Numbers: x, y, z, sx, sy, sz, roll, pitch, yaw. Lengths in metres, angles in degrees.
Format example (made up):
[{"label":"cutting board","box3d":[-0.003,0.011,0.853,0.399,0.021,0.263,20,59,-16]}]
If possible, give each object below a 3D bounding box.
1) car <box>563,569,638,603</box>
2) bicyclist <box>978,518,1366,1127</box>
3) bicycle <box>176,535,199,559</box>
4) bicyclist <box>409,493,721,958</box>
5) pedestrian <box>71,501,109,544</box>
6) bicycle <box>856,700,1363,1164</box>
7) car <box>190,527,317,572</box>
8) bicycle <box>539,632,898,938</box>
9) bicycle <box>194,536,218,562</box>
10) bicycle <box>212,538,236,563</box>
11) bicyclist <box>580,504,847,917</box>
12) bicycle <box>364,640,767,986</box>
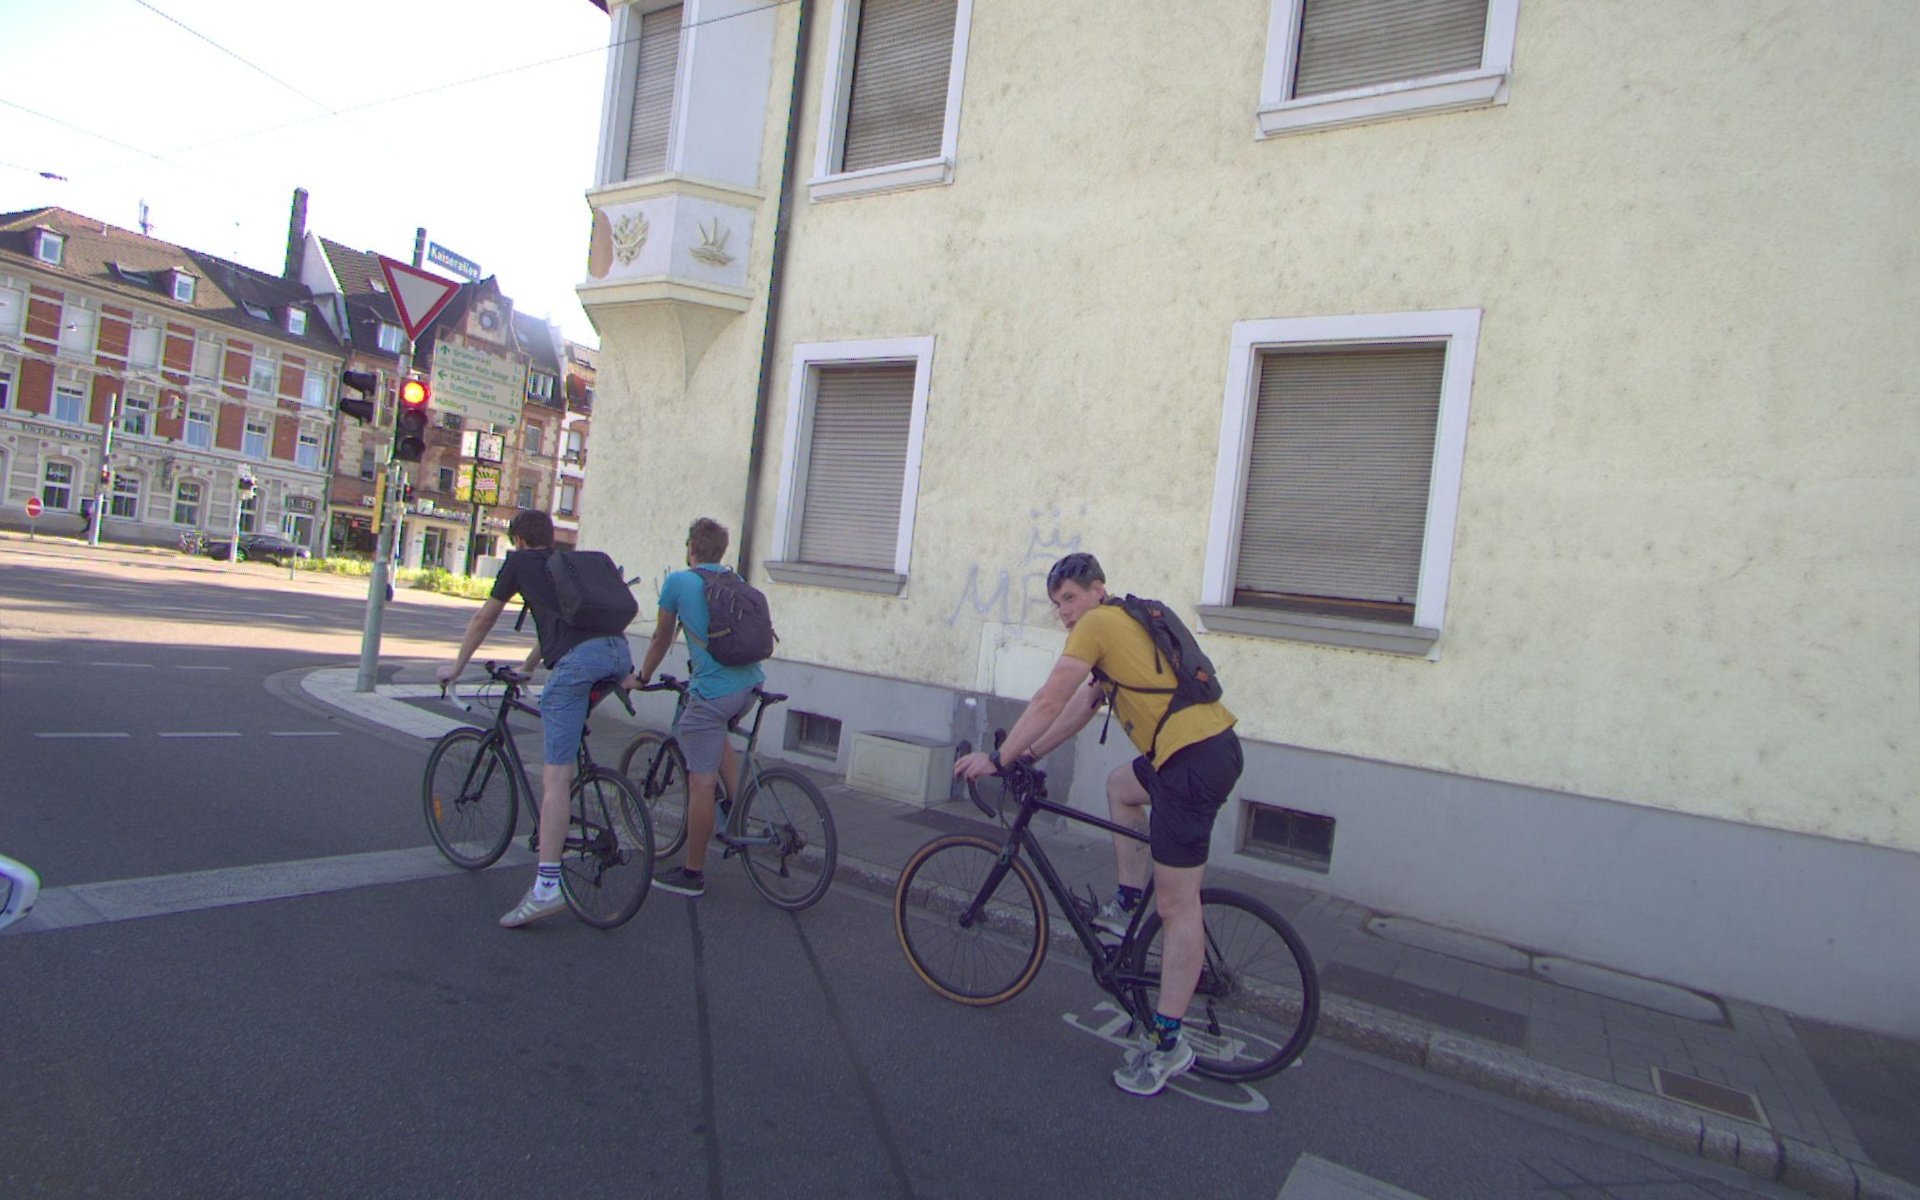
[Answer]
[{"label":"car","box3d":[-23.278,-0.896,65.284,1.966,1.641,4.261,7,-1,29]},{"label":"bicyclist","box3d":[0.770,0.694,3.653,1.019,1.839,0.652,7,0,32]},{"label":"bicycle","box3d":[-35.068,-2.414,45.661,1.759,0.925,0.485,7,0,42]},{"label":"bicyclist","box3d":[-1.753,0.490,4.467,0.978,1.788,0.652,7,0,32]},{"label":"pedestrian","box3d":[-39.100,-3.470,45.225,0.620,1.731,1.035,6,-1,40]},{"label":"bicycle","box3d":[0.511,1.088,3.770,1.670,1.180,0.571,7,0,32]},{"label":"car","box3d":[-30.383,-2.148,43.398,1.694,1.316,4.066,7,-1,32]},{"label":"bicycle","box3d":[-1.312,0.875,5.277,1.858,1.180,0.571,7,0,32]},{"label":"bicycle","box3d":[-34.643,-2.341,46.198,1.759,1.033,0.485,7,0,42]},{"label":"bicycle","box3d":[-34.192,-2.292,46.743,1.759,1.033,0.485,7,0,42]},{"label":"bicyclist","box3d":[-1.288,0.522,5.268,0.978,1.910,0.652,7,0,32]},{"label":"bicycle","box3d":[-1.801,0.833,4.465,1.858,1.071,0.571,7,0,32]}]
